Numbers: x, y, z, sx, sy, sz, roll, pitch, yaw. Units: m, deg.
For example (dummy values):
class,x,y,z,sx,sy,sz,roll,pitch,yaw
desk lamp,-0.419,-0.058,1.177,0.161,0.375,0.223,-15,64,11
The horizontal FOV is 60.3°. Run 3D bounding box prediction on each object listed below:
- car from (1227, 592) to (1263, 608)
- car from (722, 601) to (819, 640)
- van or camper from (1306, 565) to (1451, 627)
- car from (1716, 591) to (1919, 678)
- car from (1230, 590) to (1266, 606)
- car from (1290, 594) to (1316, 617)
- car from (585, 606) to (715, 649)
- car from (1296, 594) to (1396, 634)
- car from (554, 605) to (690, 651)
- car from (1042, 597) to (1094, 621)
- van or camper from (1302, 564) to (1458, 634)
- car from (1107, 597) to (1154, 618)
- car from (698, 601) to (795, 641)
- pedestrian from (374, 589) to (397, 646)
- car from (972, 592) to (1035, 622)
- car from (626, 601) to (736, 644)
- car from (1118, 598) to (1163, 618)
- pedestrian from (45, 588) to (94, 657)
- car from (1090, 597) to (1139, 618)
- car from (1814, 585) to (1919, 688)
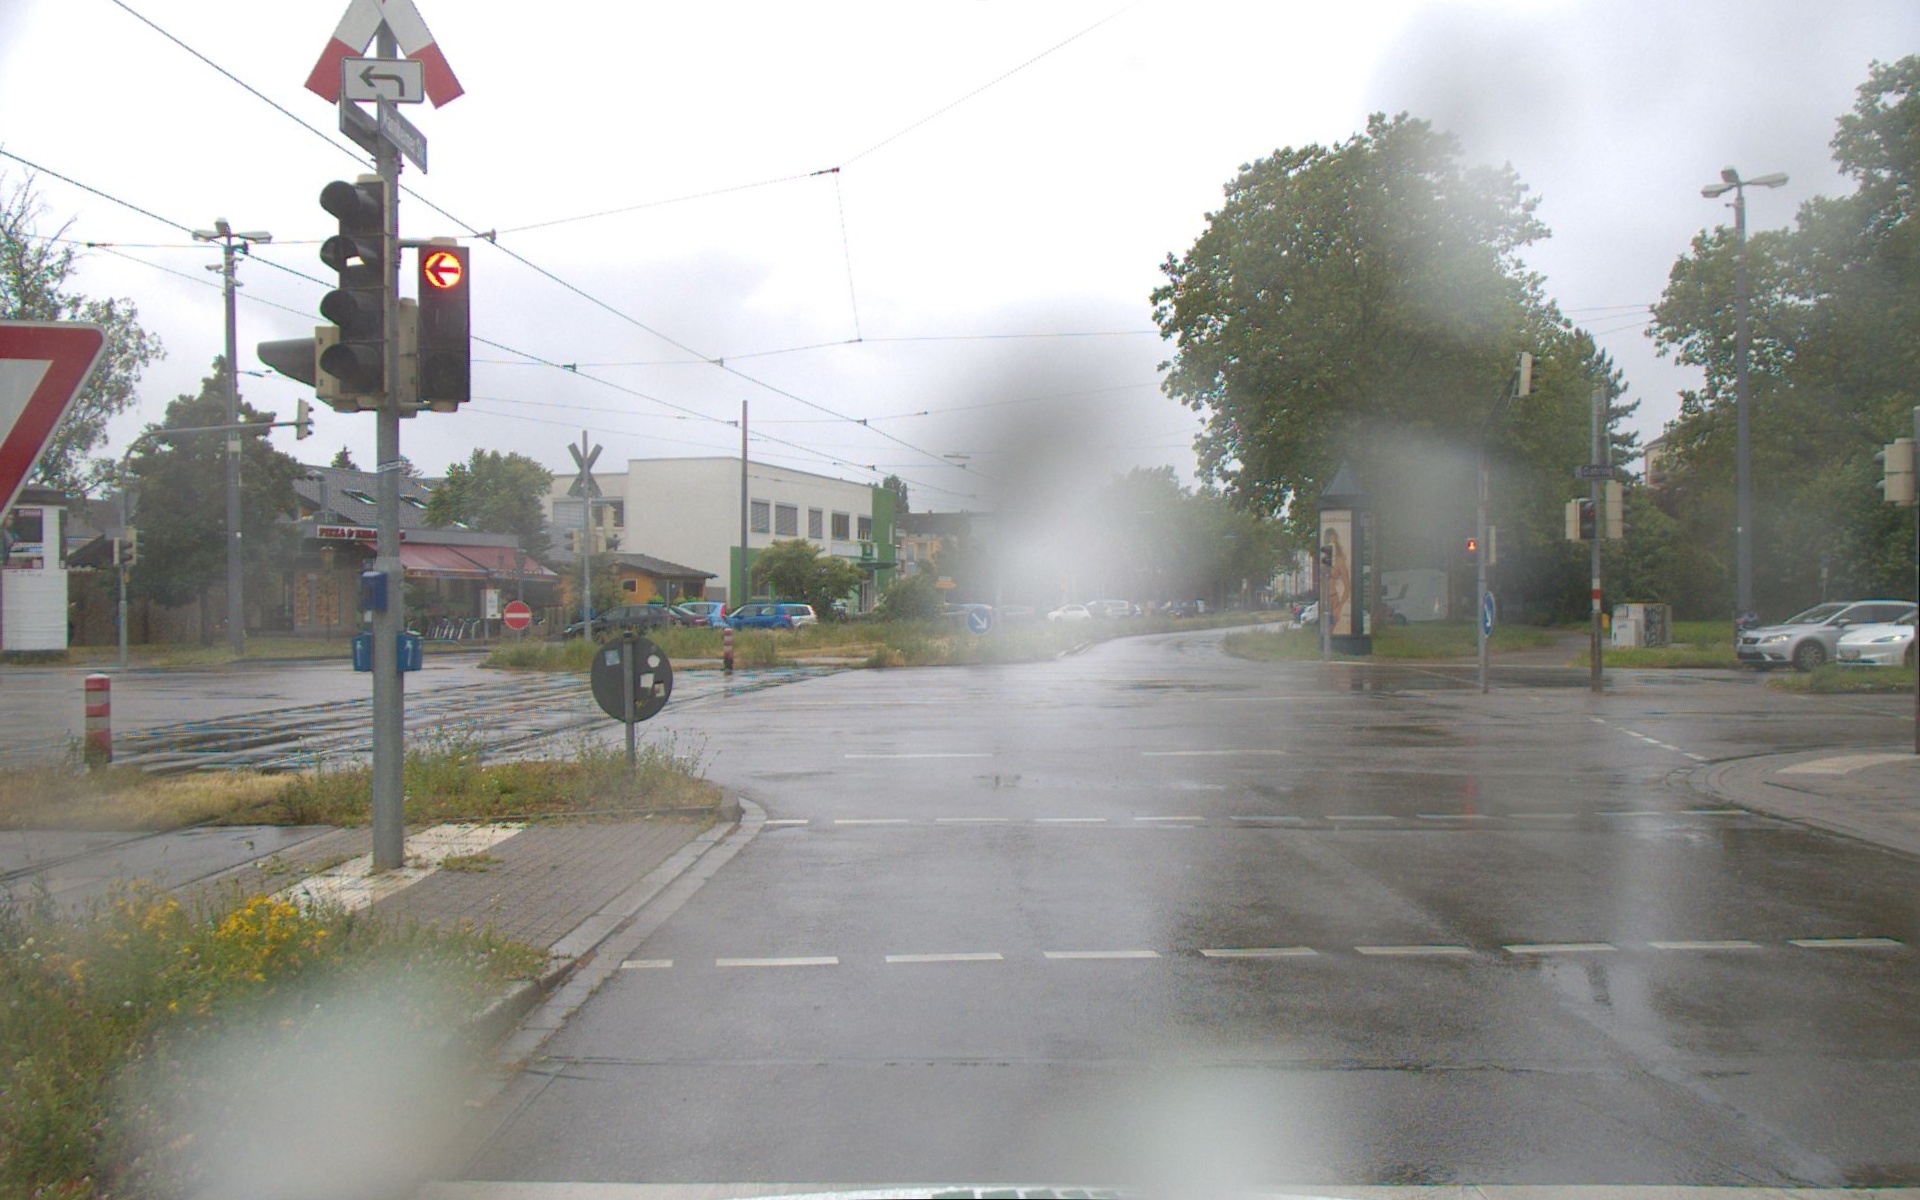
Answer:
class,x,y,z,sx,sy,sz,roll,pitch,yaw
car,34.300,-0.038,199.221,3.909,1.864,1.998,1,0,-5
car,-8.356,0.871,72.788,4.040,1.670,1.922,0,0,-15
van or camper,22.799,-0.217,90.006,7.274,3.234,3.262,1,0,22
car,18.428,0.727,34.672,4.309,1.721,1.931,1,0,-7
car,35.508,-0.268,203.974,3.909,1.864,1.998,1,0,-5
car,26.743,0.428,128.916,1.768,1.716,3.914,1,0,15
car,-11.441,1.024,61.223,4.405,1.443,1.858,-2,0,0
car,18.172,0.654,77.882,4.352,1.747,2.000,1,0,21
car,-11.976,0.989,58.807,4.385,1.443,1.858,-2,0,0
car,8.273,0.681,126.898,3.706,1.732,1.832,1,0,-11
van or camper,20.560,-0.047,80.852,7.168,3.234,3.264,1,0,17
car,15.890,0.685,154.092,3.916,1.864,1.994,1,0,-12
car,-9.011,0.871,69.627,3.916,1.609,1.924,0,0,-12
pedestrian,-20.882,0.638,60.089,0.713,2.049,0.789,1,-1,-23
car,2.872,0.495,110.260,3.911,1.920,1.997,1,0,-7
car,-10.882,0.870,64.621,3.903,1.609,1.859,0,0,4
car,17.363,0.732,159.184,3.909,1.864,1.998,1,0,-5
pedestrian,-24.188,0.612,44.929,0.711,1.829,0.885,2,0,28
car,13.543,0.644,145.037,3.916,1.789,2.004,1,0,-12
car,18.875,0.700,31.319,4.506,1.860,1.931,1,0,-7
